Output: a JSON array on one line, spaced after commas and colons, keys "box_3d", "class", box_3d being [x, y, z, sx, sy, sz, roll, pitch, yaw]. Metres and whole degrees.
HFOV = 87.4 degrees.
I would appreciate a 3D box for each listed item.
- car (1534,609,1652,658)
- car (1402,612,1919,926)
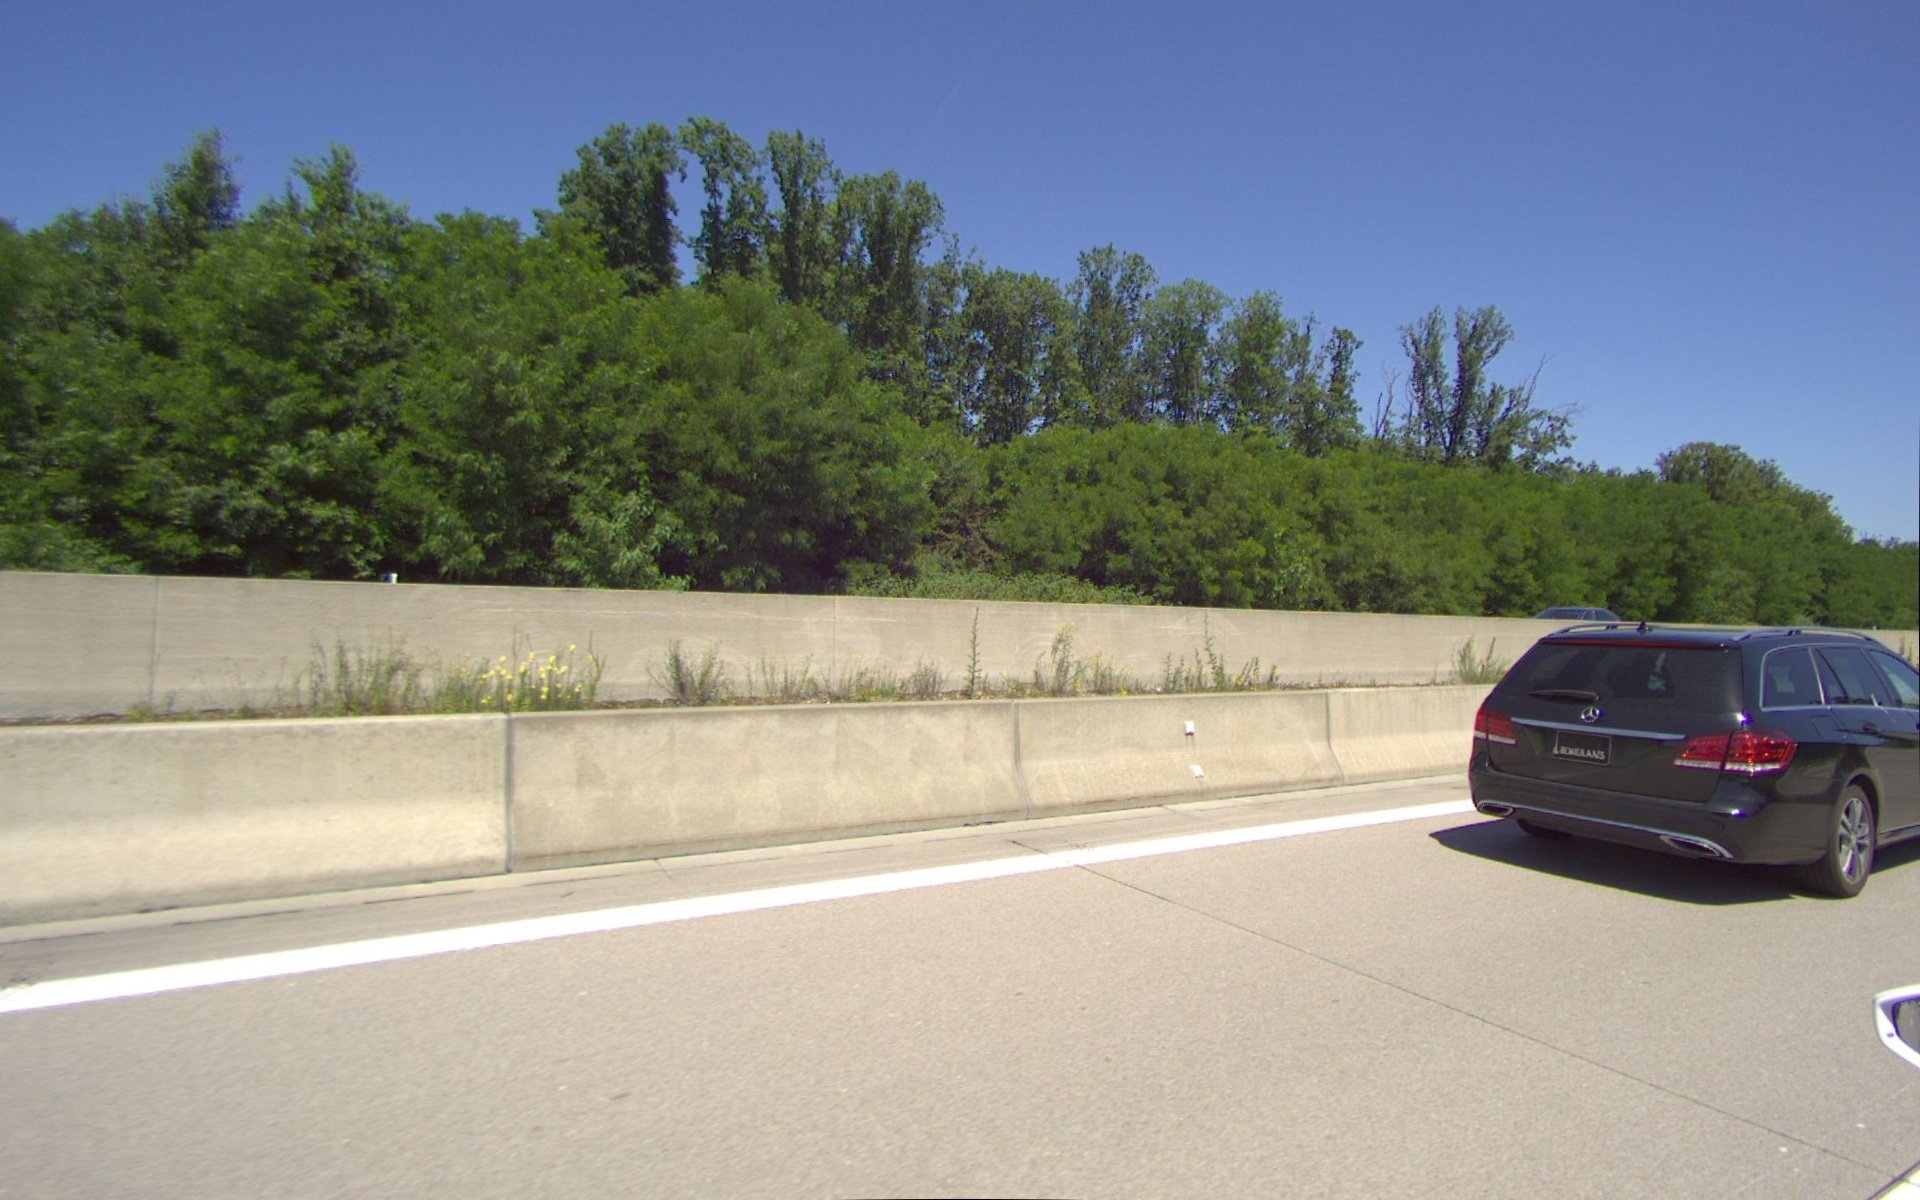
[{"box_3d": [19.492, 1.025, 30.904, 3.600, 1.344, 1.604, 2, 1, -31], "class": "car"}, {"box_3d": [5.727, 0.884, 7.081, 5.537, 1.493, 1.882, 1, 0, -30], "class": "car"}]
